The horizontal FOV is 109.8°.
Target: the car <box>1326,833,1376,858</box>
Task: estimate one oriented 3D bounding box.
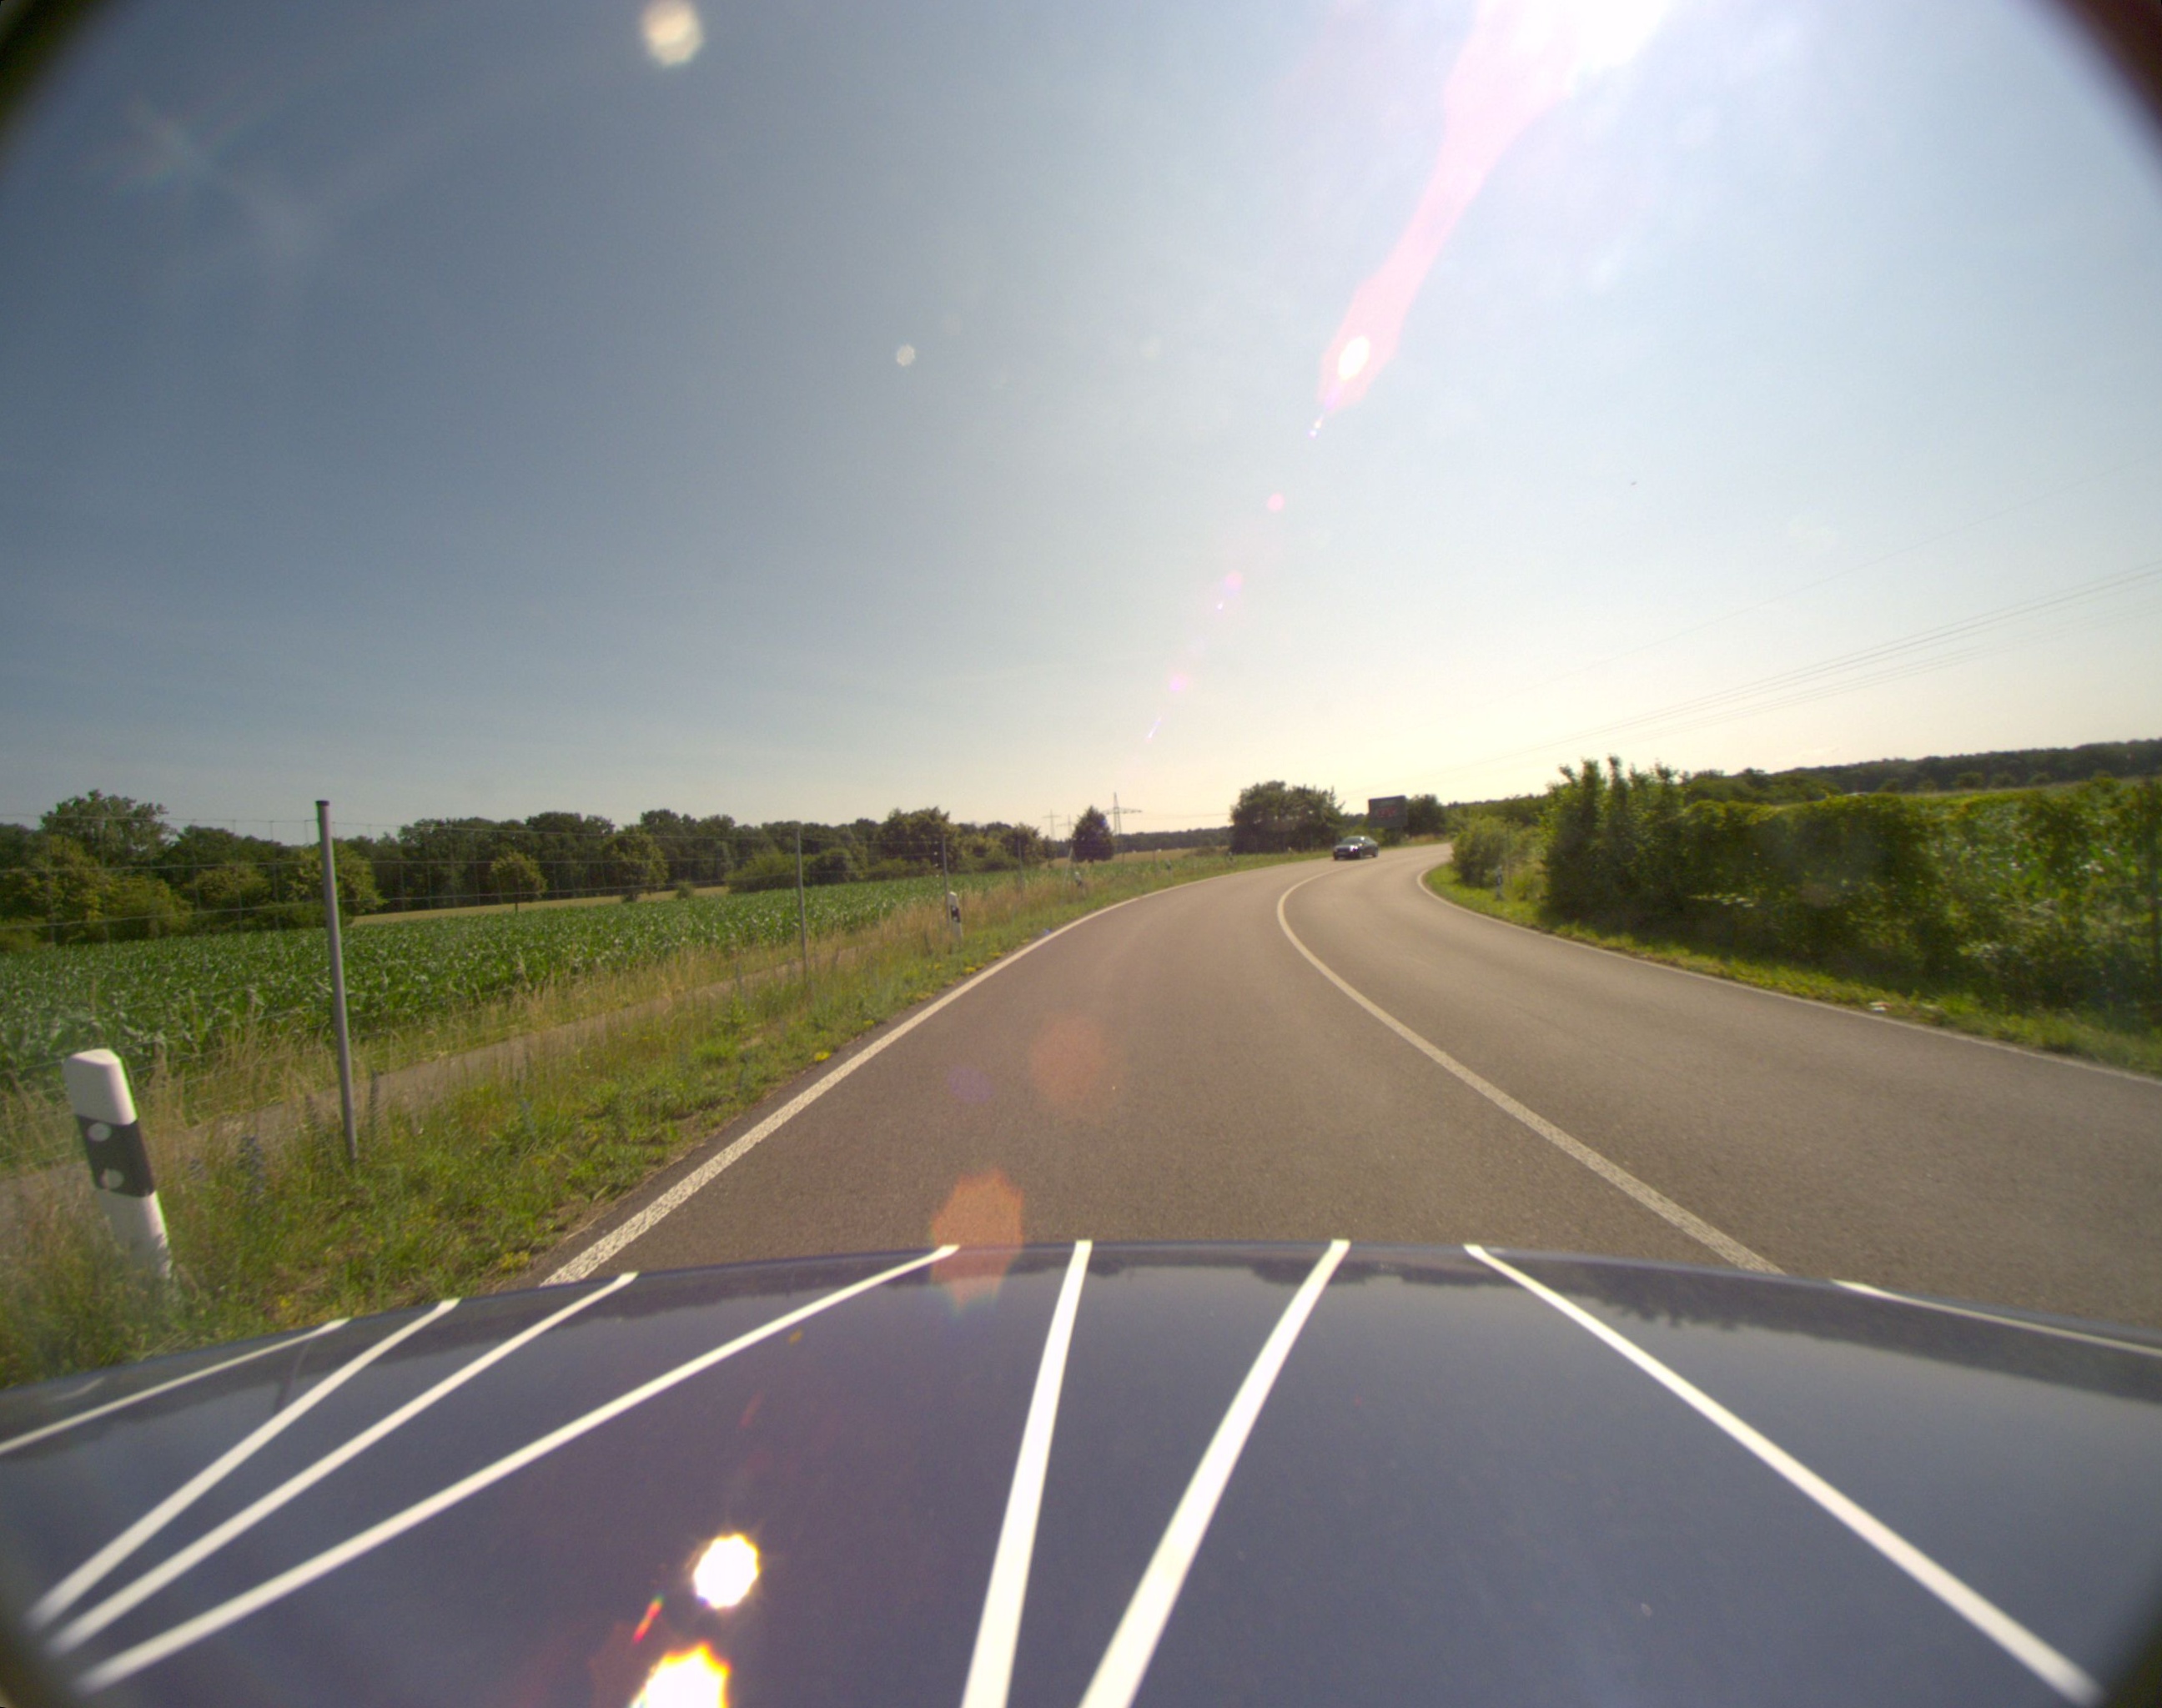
[{"bbox_3d":[17.383,-0.550,48.788,1.882,1.448,4.082,0,3,37],"label":"car"}]
